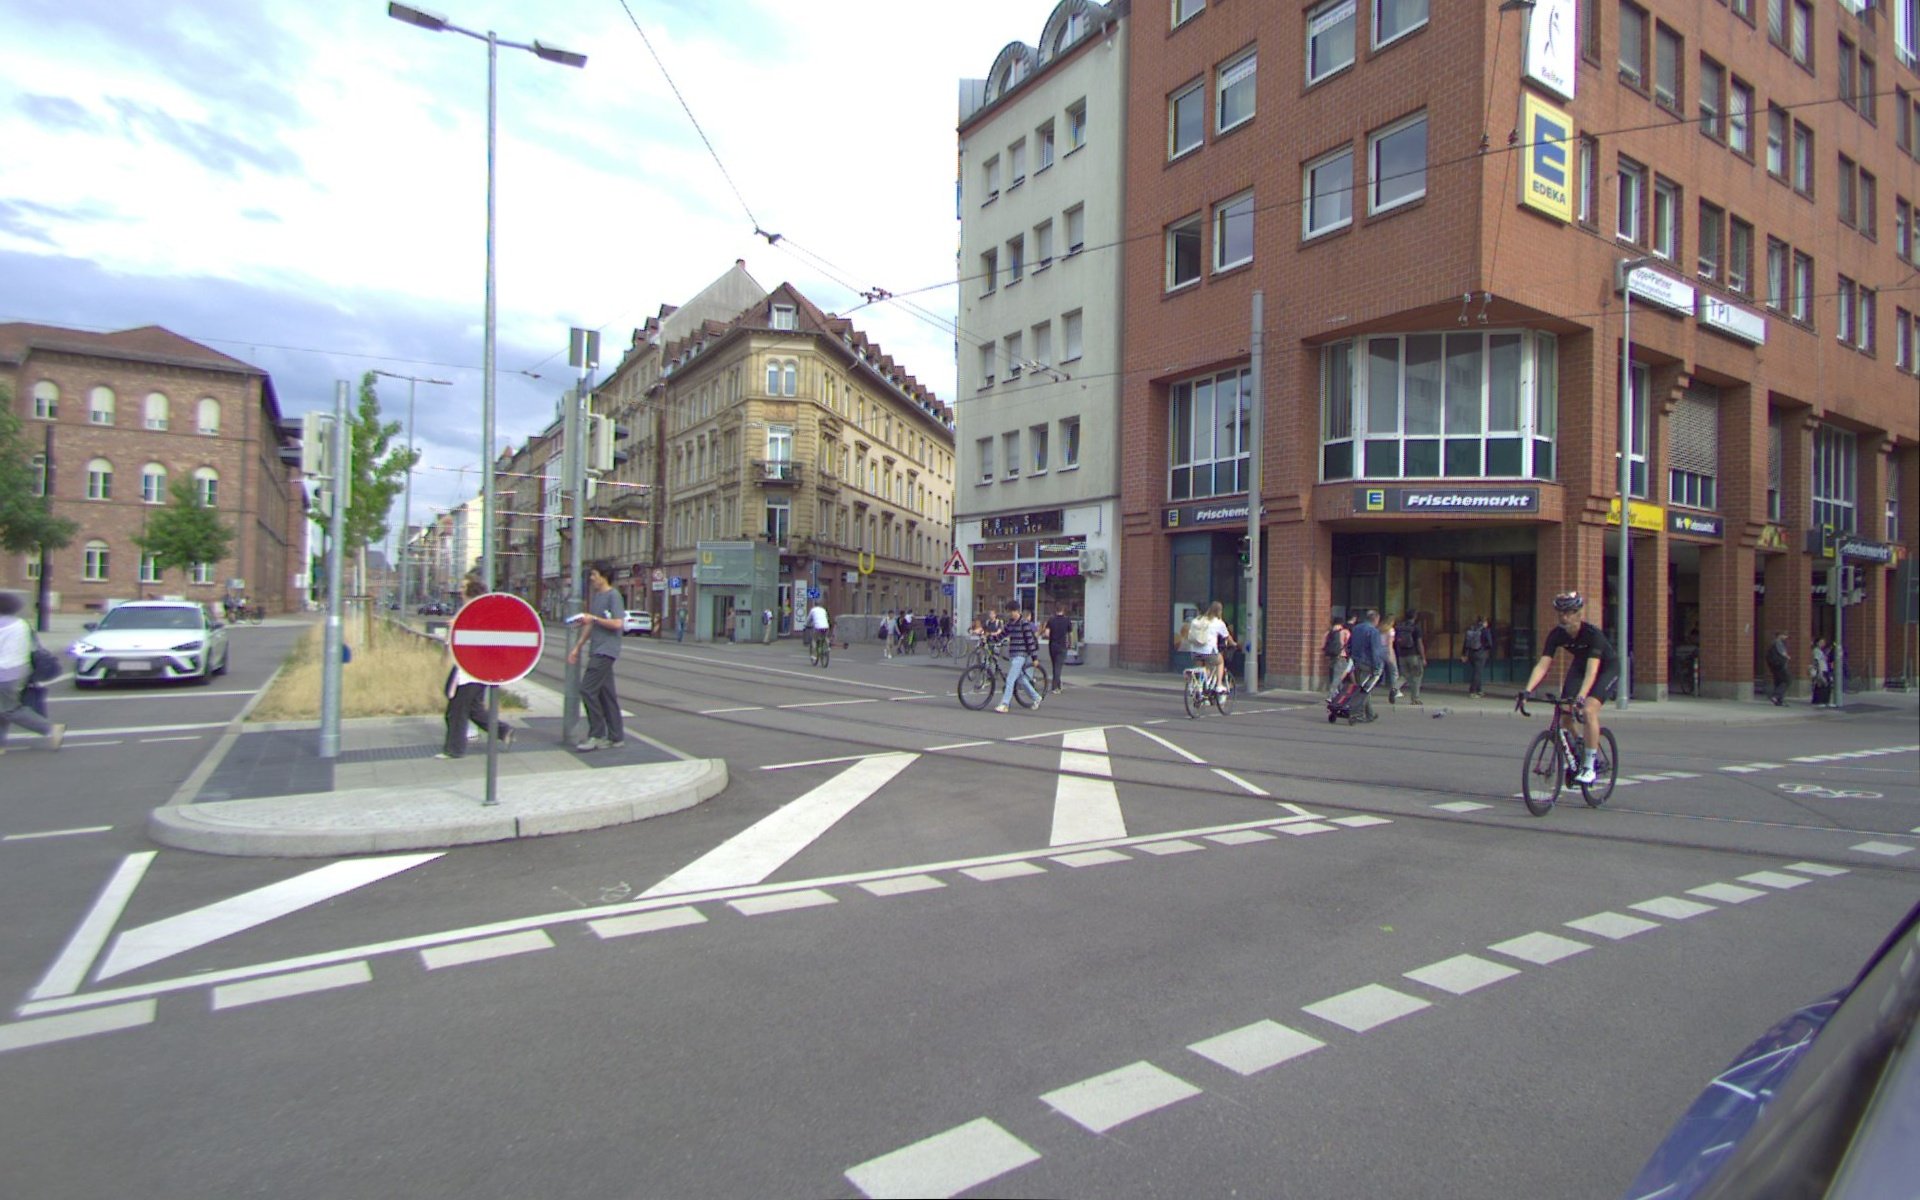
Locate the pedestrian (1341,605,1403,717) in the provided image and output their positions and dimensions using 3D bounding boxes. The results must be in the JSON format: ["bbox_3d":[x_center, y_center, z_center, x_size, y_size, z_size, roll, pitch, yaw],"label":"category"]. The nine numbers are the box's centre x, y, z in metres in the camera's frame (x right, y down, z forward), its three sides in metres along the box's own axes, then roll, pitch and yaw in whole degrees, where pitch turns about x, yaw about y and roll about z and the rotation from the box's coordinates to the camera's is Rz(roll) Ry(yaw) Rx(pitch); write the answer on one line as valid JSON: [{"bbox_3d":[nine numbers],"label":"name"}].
[{"bbox_3d":[6.449,0.945,15.848,0.588,1.709,0.641,3,-2,-32],"label":"pedestrian"}]

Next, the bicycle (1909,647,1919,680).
[{"bbox_3d":[31.237,2.056,31.897,0.524,1.054,1.862,3,-1,-31],"label":"bicycle"}]

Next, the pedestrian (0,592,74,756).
[{"bbox_3d":[-9.059,0.684,9.661,0.551,1.520,0.834,0,0,42],"label":"pedestrian"}]

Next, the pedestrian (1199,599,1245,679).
[{"bbox_3d":[6.068,0.895,23.415,0.692,1.806,0.739,2,-2,-31],"label":"pedestrian"}]

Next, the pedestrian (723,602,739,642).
[{"bbox_3d":[-9.937,0.950,43.929,0.505,1.706,0.425,3,-2,-30],"label":"pedestrian"}]

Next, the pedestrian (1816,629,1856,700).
[{"bbox_3d":[20.813,1.528,24.056,0.716,1.652,0.408,2,0,-24],"label":"pedestrian"}]

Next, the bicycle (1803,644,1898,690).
[{"bbox_3d":[24.173,1.806,27.494,1.833,1.097,0.628,2,0,9],"label":"bicycle"}]

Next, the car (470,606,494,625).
[{"bbox_3d":[-54.468,1.781,115.234,1.960,1.929,4.001,2,-3,-31],"label":"car"}]

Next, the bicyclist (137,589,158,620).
[{"bbox_3d":[-49.325,0.290,61.457,0.844,1.845,0.503,3,-2,-32],"label":"bicyclist"}]

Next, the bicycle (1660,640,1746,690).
[{"bbox_3d":[18.979,1.656,25.859,1.715,1.097,0.631,3,3,-6],"label":"bicycle"}]

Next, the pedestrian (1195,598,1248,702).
[{"bbox_3d":[4.753,0.908,18.379,0.682,1.847,0.569,3,-2,-32],"label":"pedestrian"}]

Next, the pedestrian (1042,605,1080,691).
[{"bbox_3d":[2.021,0.962,20.285,0.694,1.669,0.720,2,-2,6],"label":"pedestrian"}]

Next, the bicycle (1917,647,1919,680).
[{"bbox_3d":[31.774,2.089,32.189,0.524,1.054,1.862,3,-1,-31],"label":"bicycle"}]

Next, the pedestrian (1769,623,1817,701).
[{"bbox_3d":[18.921,1.393,22.989,0.684,1.717,0.648,2,0,-34],"label":"pedestrian"}]

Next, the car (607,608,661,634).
[{"bbox_3d":[-17.656,1.105,54.684,1.801,1.282,4.156,2,-1,-32],"label":"car"}]

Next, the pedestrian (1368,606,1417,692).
[{"bbox_3d":[8.753,0.979,20.487,0.638,1.710,0.649,1,-1,-32],"label":"pedestrian"}]

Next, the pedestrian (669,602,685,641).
[{"bbox_3d":[-12.812,0.973,45.787,0.593,1.706,0.734,-1,-1,-8],"label":"pedestrian"}]

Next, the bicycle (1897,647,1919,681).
[{"bbox_3d":[30.595,2.031,31.622,0.497,1.054,1.862,3,-1,-31],"label":"bicycle"}]

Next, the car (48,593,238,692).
[{"bbox_3d":[-14.402,0.652,18.131,1.960,1.531,4.607,1,0,-31],"label":"car"}]

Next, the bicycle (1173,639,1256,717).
[{"bbox_3d":[4.017,1.194,15.869,0.390,1.136,2.046,0,-2,40],"label":"bicycle"}]

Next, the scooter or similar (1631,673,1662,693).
[{"bbox_3d":[15.596,1.890,22.993,0.874,0.424,0.263,3,-2,-34],"label":"scooter or similar"}]

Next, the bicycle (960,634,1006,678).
[{"bbox_3d":[0.553,1.271,23.362,0.536,0.963,1.795,1,-1,19],"label":"bicycle"}]

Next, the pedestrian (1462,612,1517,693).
[{"bbox_3d":[10.957,1.080,20.956,0.903,1.621,0.621,3,-2,-32],"label":"pedestrian"}]

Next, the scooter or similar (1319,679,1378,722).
[{"bbox_3d":[5.877,1.510,15.304,0.801,0.581,0.508,2,-2,-39],"label":"scooter or similar"}]

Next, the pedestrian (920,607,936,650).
[{"bbox_3d":[-1.304,1.153,41.012,0.530,1.744,0.521,2,-2,-11],"label":"pedestrian"}]

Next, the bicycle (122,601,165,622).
[{"bbox_3d":[-49.516,0.702,61.379,1.935,1.180,0.421,3,-2,-33],"label":"bicycle"}]

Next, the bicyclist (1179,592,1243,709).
[{"bbox_3d":[3.878,0.762,15.631,0.639,1.731,0.850,0,-2,39],"label":"bicyclist"}]

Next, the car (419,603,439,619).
[{"bbox_3d":[-68.757,1.426,131.031,1.920,1.929,4.001,2,-3,-31],"label":"car"}]

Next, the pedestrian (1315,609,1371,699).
[{"bbox_3d":[7.334,1.034,19.366,0.875,1.673,0.543,3,-2,-32],"label":"pedestrian"}]

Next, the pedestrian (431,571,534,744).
[{"bbox_3d":[-4.973,0.577,10.549,0.632,1.717,0.696,1,-2,38],"label":"pedestrian"}]

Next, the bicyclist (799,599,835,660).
[{"bbox_3d":[-3.862,0.795,27.323,0.630,1.624,0.863,3,-2,-32],"label":"bicyclist"}]

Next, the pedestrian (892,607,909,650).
[{"bbox_3d":[-2.410,1.152,41.131,0.579,1.744,0.521,2,-2,-11],"label":"pedestrian"}]

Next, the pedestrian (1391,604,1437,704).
[{"bbox_3d":[8.482,0.998,18.918,0.550,1.820,0.543,3,-2,-32],"label":"pedestrian"}]

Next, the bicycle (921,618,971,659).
[{"bbox_3d":[-0.460,1.222,32.291,0.533,1.219,1.804,3,-2,-41],"label":"bicycle"}]

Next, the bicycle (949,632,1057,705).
[{"bbox_3d":[0.707,1.106,16.355,1.794,1.125,0.398,3,-2,-31],"label":"bicycle"}]

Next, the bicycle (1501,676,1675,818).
[{"bbox_3d":[5.111,1.144,8.199,1.713,1.013,0.489,3,-2,-32],"label":"bicycle"}]

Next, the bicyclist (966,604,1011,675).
[{"bbox_3d":[0.663,0.896,23.287,0.737,1.579,0.940,1,-2,20],"label":"bicyclist"}]

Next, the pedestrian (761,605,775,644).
[{"bbox_3d":[-8.470,1.087,44.663,0.416,1.706,0.515,2,-2,2],"label":"pedestrian"}]

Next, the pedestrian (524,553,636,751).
[{"bbox_3d":[-3.802,0.508,10.114,0.859,1.878,0.641,3,-2,-32],"label":"pedestrian"}]

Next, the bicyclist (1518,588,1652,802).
[{"bbox_3d":[5.043,0.737,8.174,0.830,1.624,0.614,2,-3,-32],"label":"bicyclist"}]

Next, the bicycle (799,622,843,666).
[{"bbox_3d":[-3.728,1.156,27.052,0.384,1.101,1.921,3,-2,-32],"label":"bicycle"}]

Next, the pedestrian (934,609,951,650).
[{"bbox_3d":[-0.707,1.211,41.228,0.571,1.657,0.546,2,-2,-11],"label":"pedestrian"}]

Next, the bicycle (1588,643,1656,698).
[{"bbox_3d":[14.468,1.526,22.099,1.665,1.105,0.568,1,1,-32],"label":"bicycle"}]

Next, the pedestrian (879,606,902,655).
[{"bbox_3d":[-2.414,1.052,35.236,0.704,1.648,0.792,2,-2,1],"label":"pedestrian"}]

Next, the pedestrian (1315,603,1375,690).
[{"bbox_3d":[7.932,0.946,20.871,1.035,1.736,0.649,2,-2,-32],"label":"pedestrian"}]

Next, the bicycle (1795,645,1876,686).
[{"bbox_3d":[26.396,1.972,30.541,1.833,1.097,0.484,2,0,9],"label":"bicycle"}]

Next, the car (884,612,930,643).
[{"bbox_3d":[-2.900,1.523,55.995,1.669,1.607,3.646,2,-1,12],"label":"car"}]

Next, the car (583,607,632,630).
[{"bbox_3d":[-21.106,1.085,60.498,1.801,1.282,4.156,2,-1,-32],"label":"car"}]

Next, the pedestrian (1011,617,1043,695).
[{"bbox_3d":[1.364,1.123,20.528,0.583,1.531,0.628,2,-2,6],"label":"pedestrian"}]

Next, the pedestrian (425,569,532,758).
[{"bbox_3d":[-4.542,0.582,9.557,0.781,1.707,0.470,3,-2,-37],"label":"pedestrian"}]

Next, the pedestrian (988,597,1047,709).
[{"bbox_3d":[0.900,0.820,15.857,0.711,1.707,0.521,3,-2,-31],"label":"pedestrian"}]

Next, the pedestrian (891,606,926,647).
[{"bbox_3d":[-2.420,1.247,47.269,1.111,1.852,1.163,3,-2,-41],"label":"pedestrian"}]
